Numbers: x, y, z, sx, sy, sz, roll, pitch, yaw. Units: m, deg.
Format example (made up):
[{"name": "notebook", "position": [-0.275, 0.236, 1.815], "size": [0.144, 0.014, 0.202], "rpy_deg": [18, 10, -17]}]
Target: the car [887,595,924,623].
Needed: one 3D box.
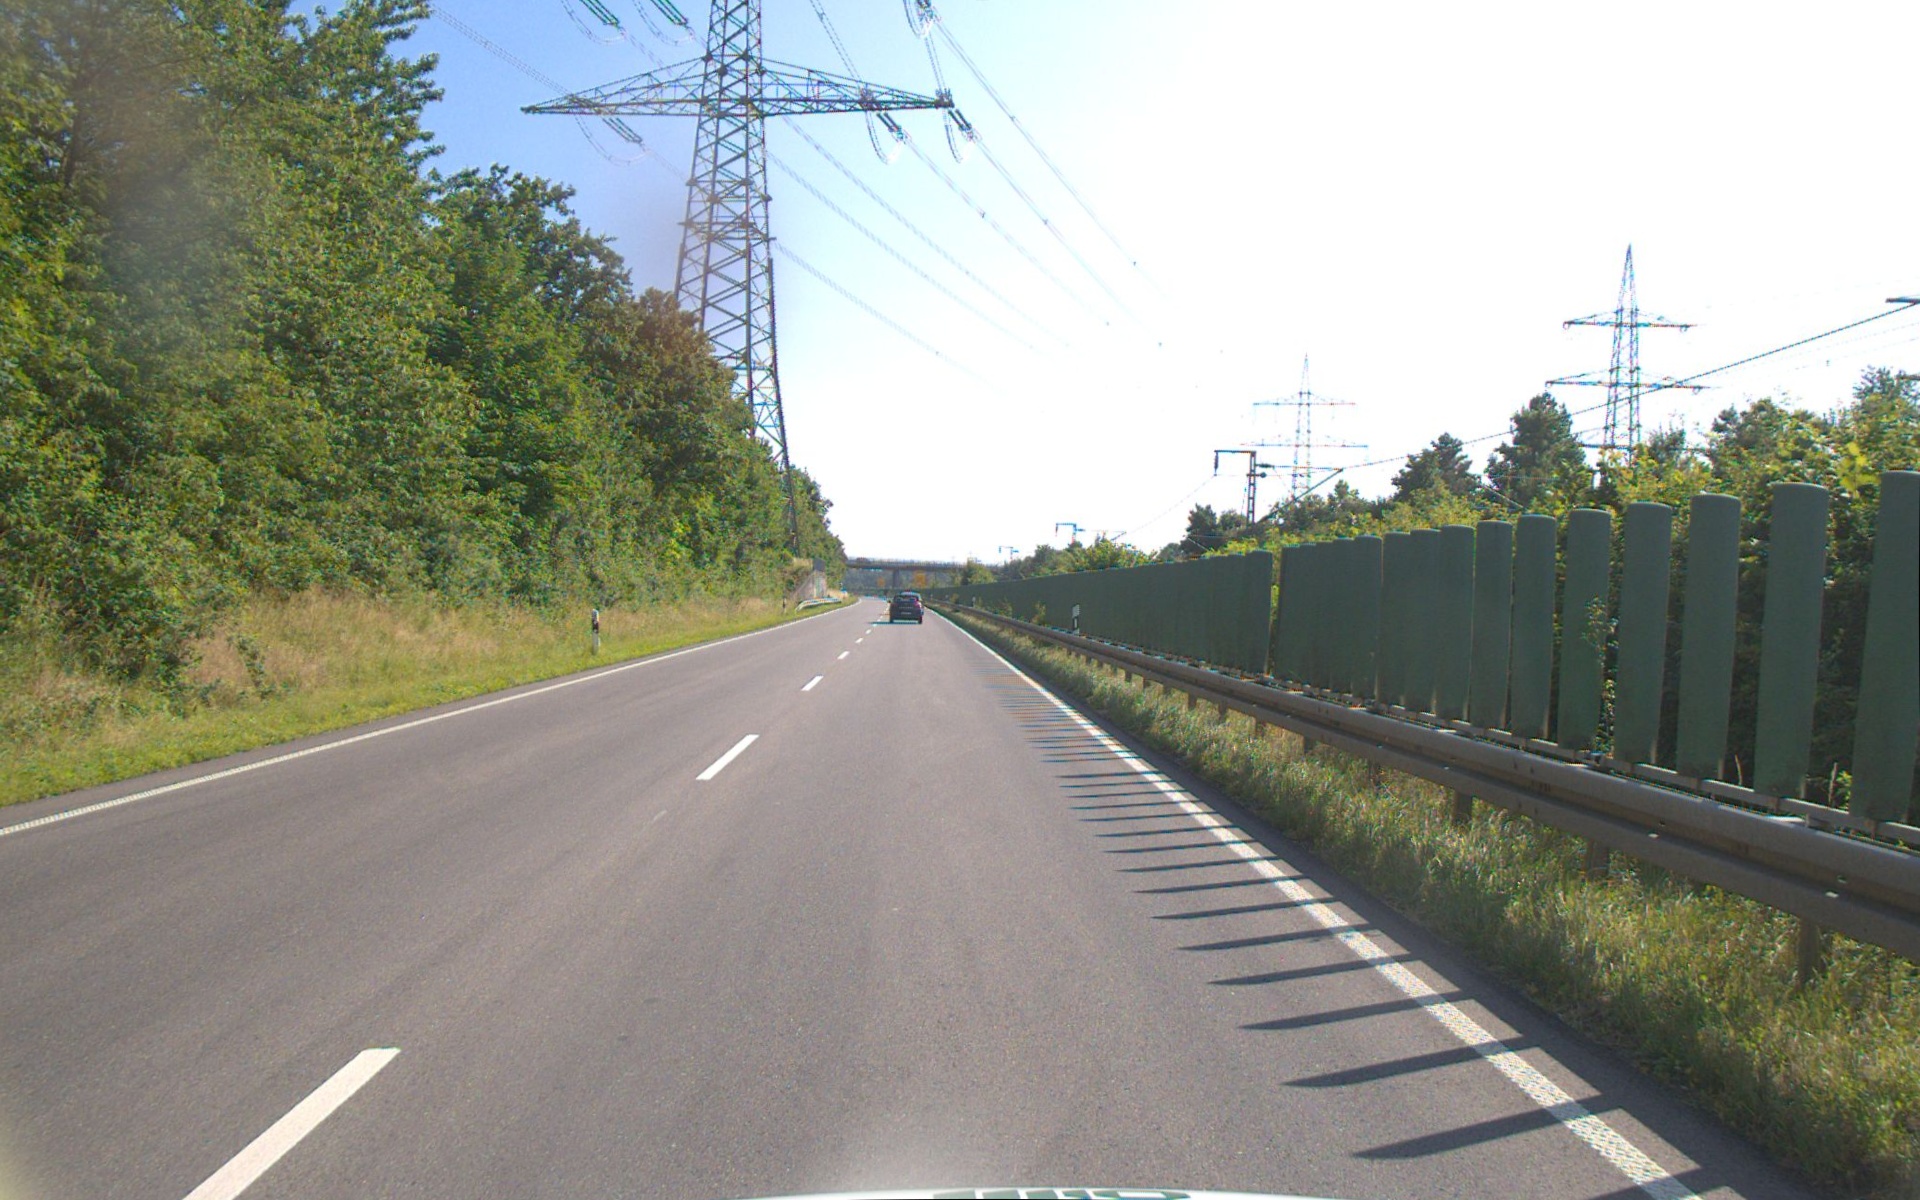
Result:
[{"name": "car", "position": [-2.696, 0.424, 80.930], "size": [1.631, 1.283, 3.996], "rpy_deg": [1, 0, -5]}]
